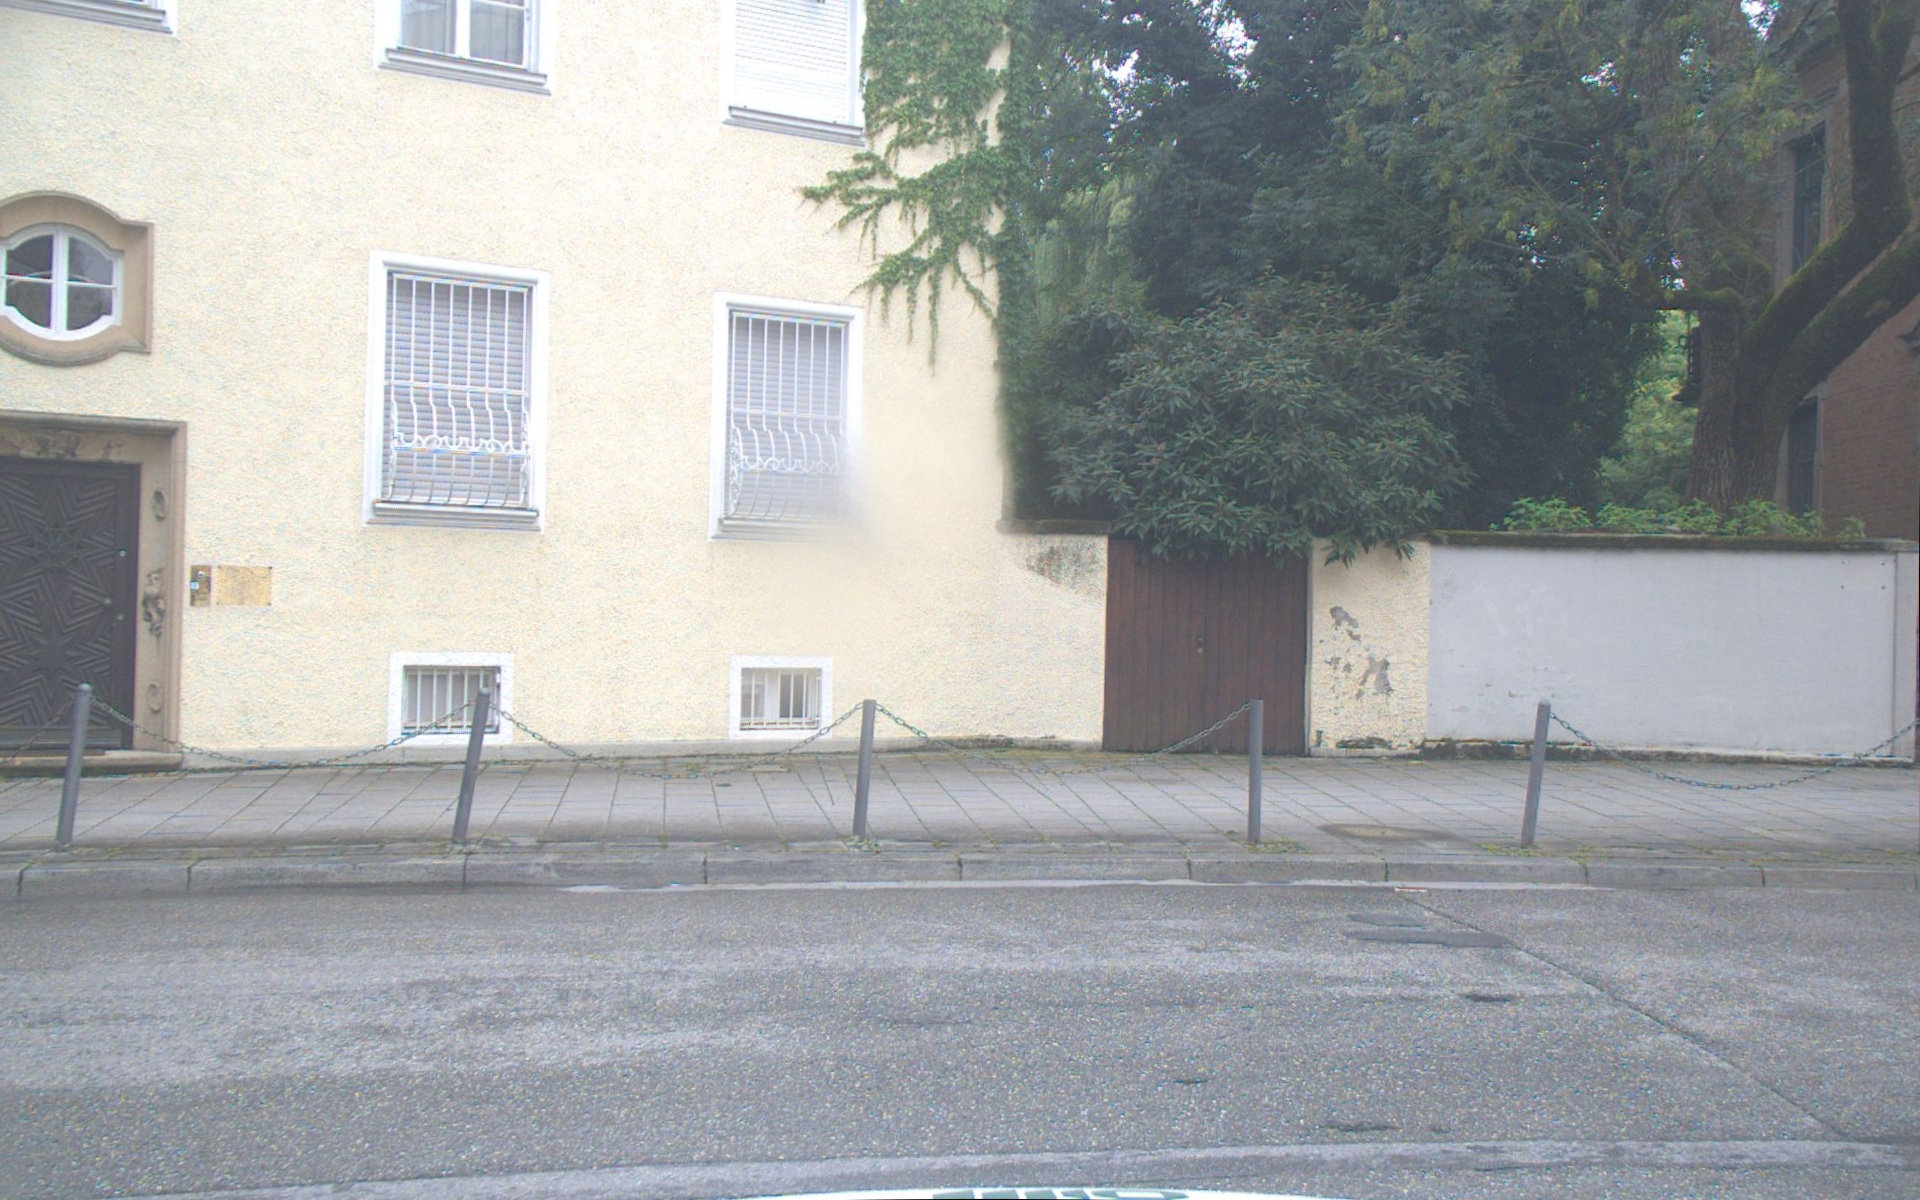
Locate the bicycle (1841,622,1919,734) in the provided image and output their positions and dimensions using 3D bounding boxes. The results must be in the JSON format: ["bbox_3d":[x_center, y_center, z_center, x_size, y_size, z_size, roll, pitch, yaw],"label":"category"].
[{"bbox_3d":[10.880,0.876,18.904,0.523,1.240,2.083,1,-1,1],"label":"bicycle"}]
